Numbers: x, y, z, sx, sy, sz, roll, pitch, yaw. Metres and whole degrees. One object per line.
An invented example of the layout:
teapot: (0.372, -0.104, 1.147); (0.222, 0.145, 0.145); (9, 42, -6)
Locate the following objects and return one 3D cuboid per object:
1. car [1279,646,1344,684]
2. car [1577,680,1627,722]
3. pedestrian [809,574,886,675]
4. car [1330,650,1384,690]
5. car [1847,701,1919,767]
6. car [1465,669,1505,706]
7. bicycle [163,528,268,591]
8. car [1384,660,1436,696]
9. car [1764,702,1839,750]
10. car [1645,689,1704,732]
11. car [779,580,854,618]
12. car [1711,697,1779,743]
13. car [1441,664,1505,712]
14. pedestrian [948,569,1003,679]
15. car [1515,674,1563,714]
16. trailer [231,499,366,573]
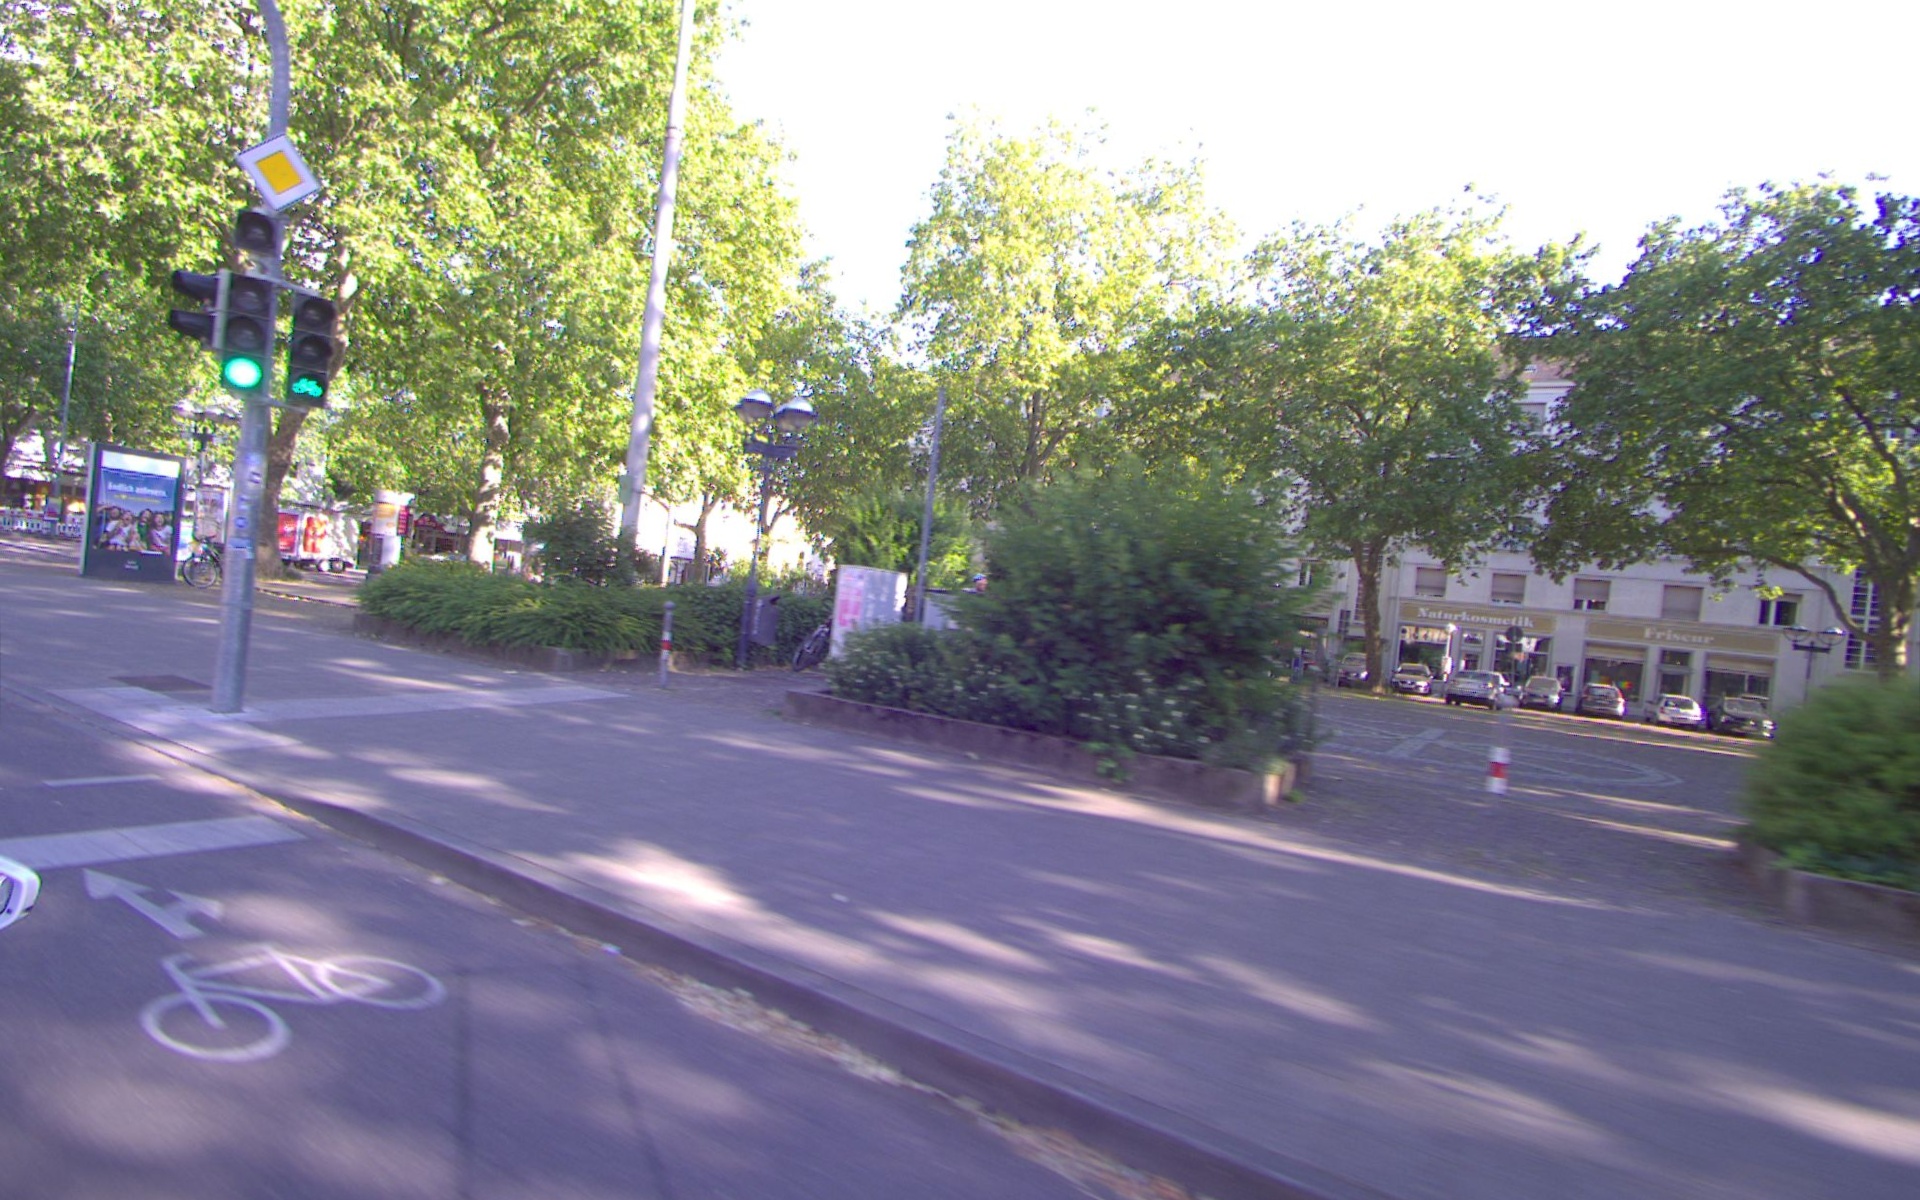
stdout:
car: (18.929, 3.443, 54.059); (2.132, 1.734, 5.063); (6, 1, 31)
car: (29.975, 4.677, 47.060); (1.750, 1.499, 4.340); (6, 1, 31)
pedestrian: (-1.764, 0.381, 15.713); (0.839, 1.444, 0.620); (8, -1, -37)
car: (20.616, 3.574, 52.190); (1.750, 1.776, 4.340); (6, 1, 31)
car: (31.709, 4.545, 33.786); (2.014, 1.938, 3.995); (6, -2, 31)
car: (25.792, 4.279, 49.385); (1.385, 1.499, 3.564); (6, 1, 31)
bicycle: (-14.958, -0.789, 20.273); (0.525, 1.066, 1.826); (7, -1, 5)
car: (22.849, 3.932, 51.039); (1.750, 1.499, 4.340); (6, 1, 31)
car: (36.614, 5.452, 43.885); (1.750, 1.541, 4.340); (6, 1, 31)
car: (32.580, 5.003, 45.980); (1.750, 1.499, 4.340); (6, 1, 31)
car: (-8.155, -0.039, 57.450); (1.733, 1.895, 4.340); (6, 1, 31)
car: (34.473, 5.238, 44.279); (1.750, 1.499, 4.340); (6, 1, 31)
car: (20.477, 3.537, 40.080); (1.890, 1.539, 3.995); (6, -2, 31)
pedestrian: (0.266, 0.414, 17.436); (0.617, 1.806, 0.553); (7, -1, -17)
car: (27.733, 4.434, 48.139); (1.750, 1.499, 4.340); (6, 1, 31)
trailer: (-27.096, -2.566, 41.392); (1.877, 2.402, 4.518); (7, 0, 9)
